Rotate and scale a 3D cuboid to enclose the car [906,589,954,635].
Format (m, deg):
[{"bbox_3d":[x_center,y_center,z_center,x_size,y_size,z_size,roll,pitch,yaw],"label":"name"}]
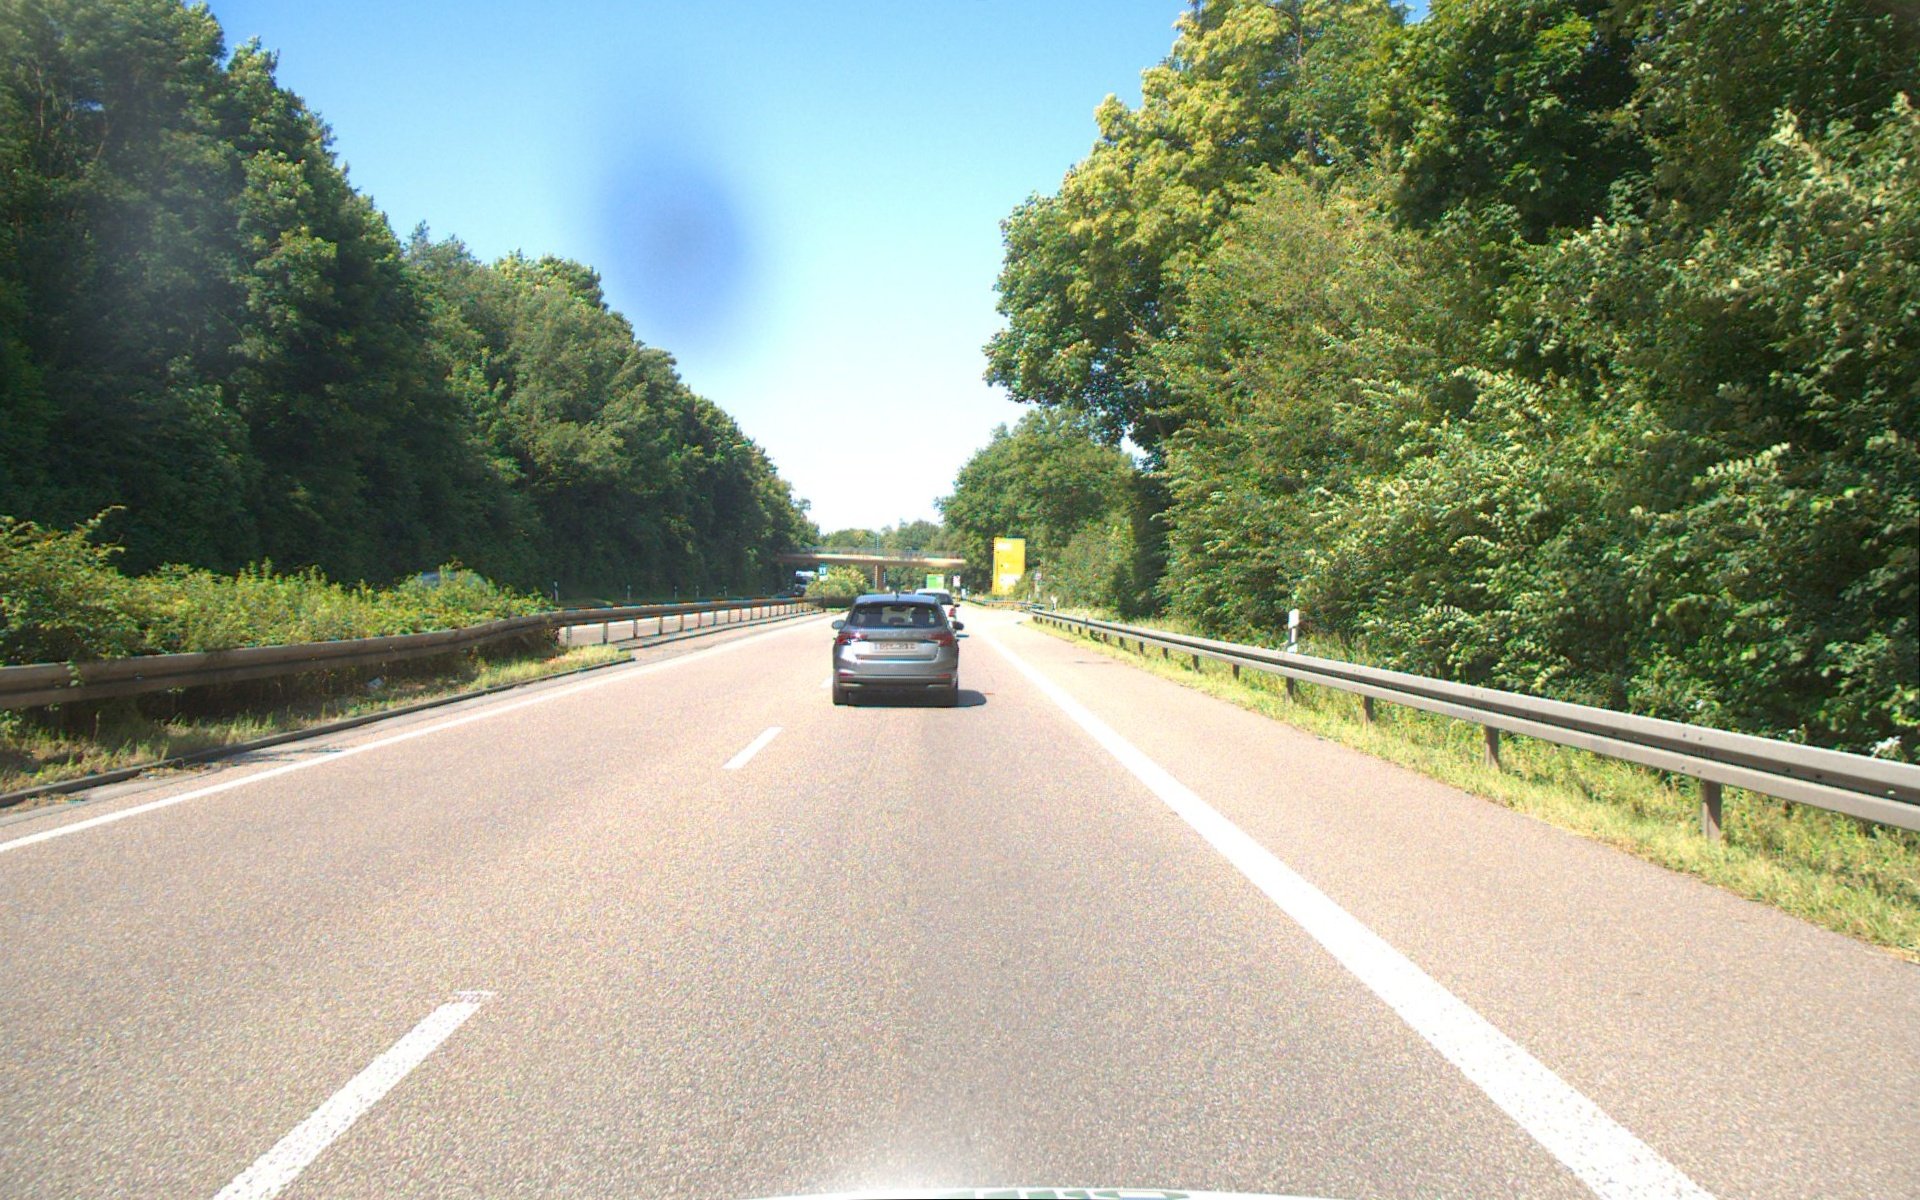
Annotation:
[{"bbox_3d":[-0.985,0.393,55.915,1.491,1.472,3.340,1,0,1],"label":"car"}]

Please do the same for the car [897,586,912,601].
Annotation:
[{"bbox_3d":[-7.559,-0.848,227.160,1.953,2.049,3.999,1,0,-1],"label":"car"}]

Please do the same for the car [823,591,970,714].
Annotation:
[{"bbox_3d":[-0.789,0.655,22.699,1.802,1.497,3.624,1,1,1],"label":"car"}]

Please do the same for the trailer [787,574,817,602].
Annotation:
[{"bbox_3d":[-19.867,-1.447,208.751,2.442,3.292,14.429,1,0,-1],"label":"trailer"}]

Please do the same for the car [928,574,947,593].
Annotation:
[{"bbox_3d":[-3.270,-2.371,241.830,2.693,2.700,3.999,1,0,-1],"label":"car"}]

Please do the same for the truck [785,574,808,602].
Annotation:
[{"bbox_3d":[-19.885,-1.468,201.679,2.376,3.315,3.999,1,0,-1],"label":"truck"}]
